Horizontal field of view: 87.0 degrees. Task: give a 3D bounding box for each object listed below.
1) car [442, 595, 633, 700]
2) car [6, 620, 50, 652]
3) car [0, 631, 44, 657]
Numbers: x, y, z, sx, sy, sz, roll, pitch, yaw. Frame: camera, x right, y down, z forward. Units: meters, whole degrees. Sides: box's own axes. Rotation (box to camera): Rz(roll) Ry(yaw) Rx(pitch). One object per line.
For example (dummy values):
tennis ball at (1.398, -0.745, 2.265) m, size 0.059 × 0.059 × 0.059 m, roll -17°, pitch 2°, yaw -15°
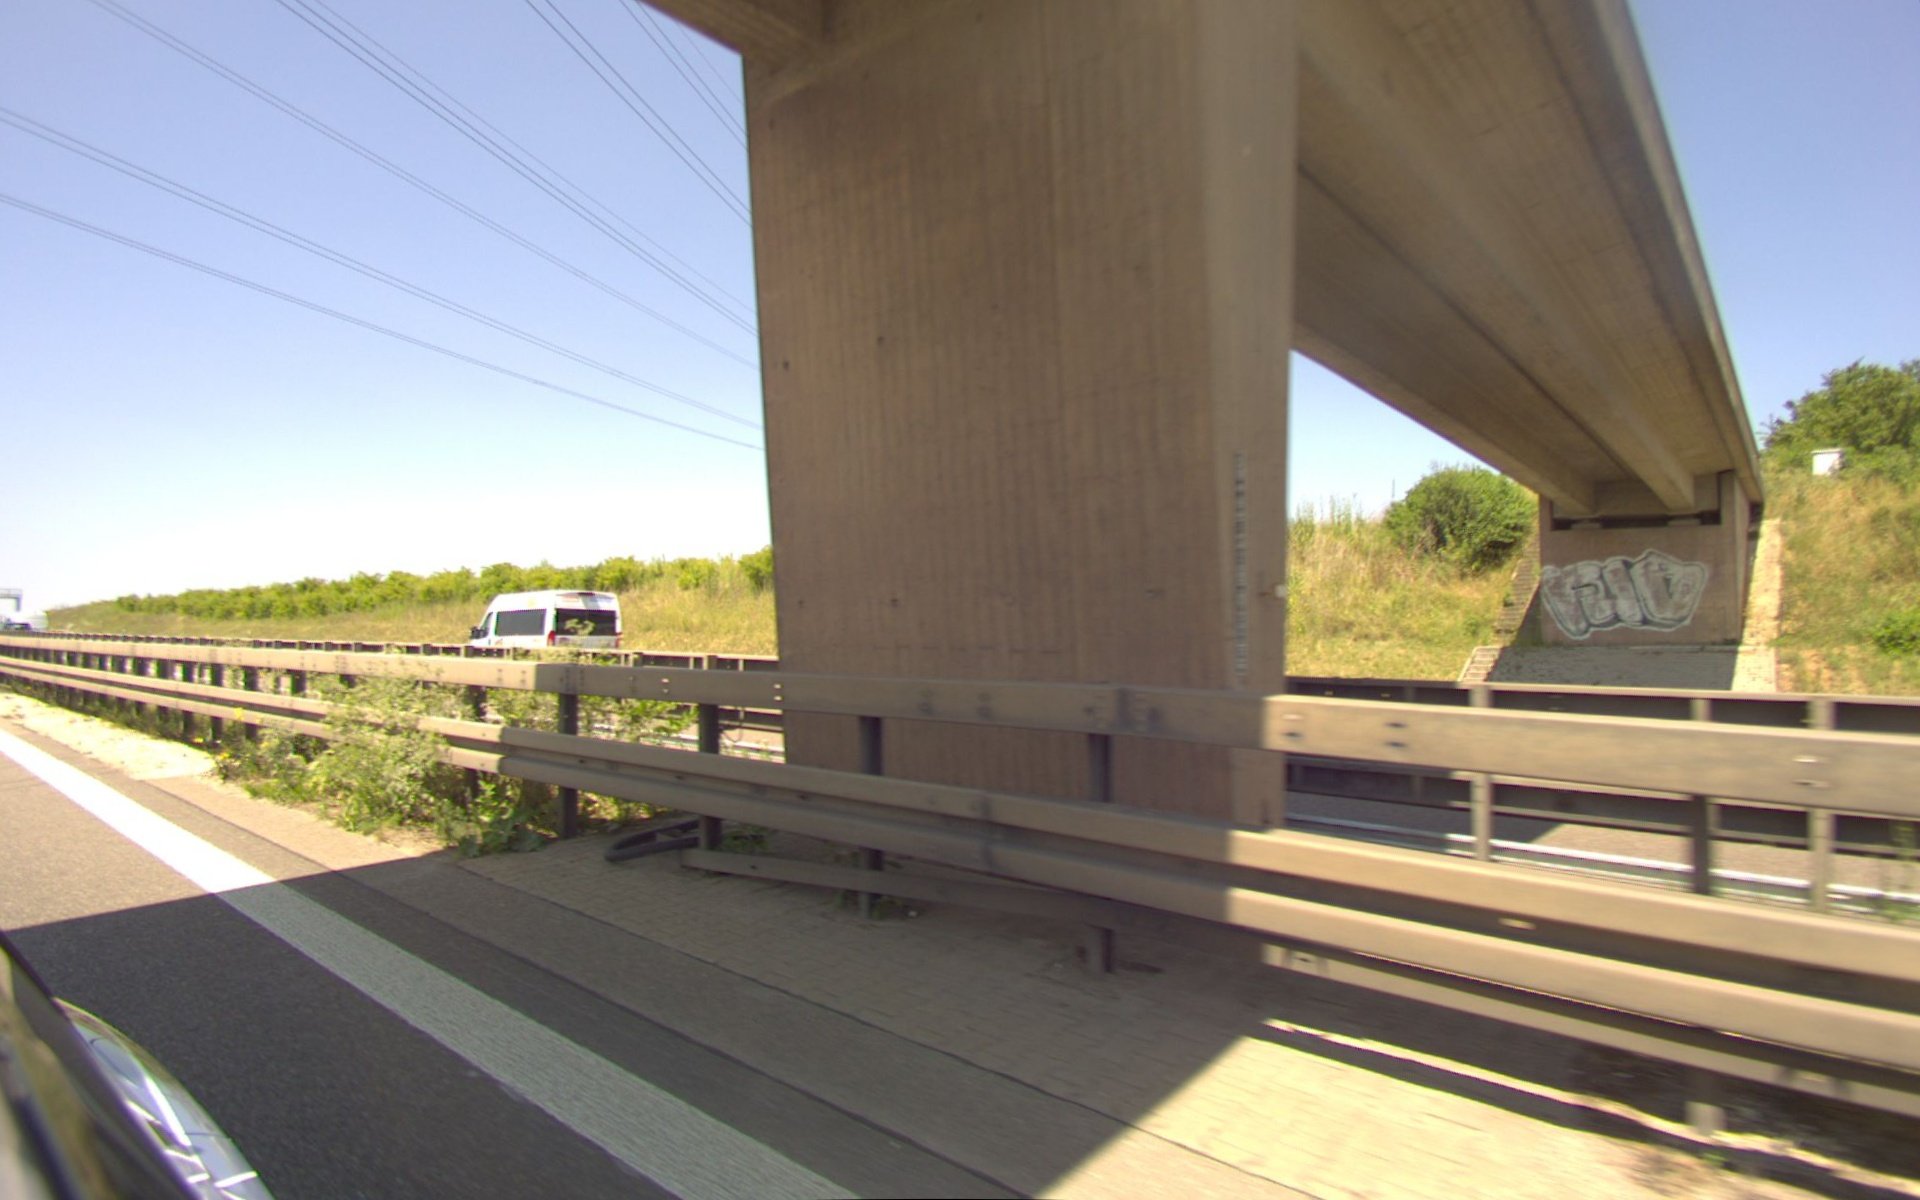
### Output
car at (-11.502, 1.198, 27.262) m, size 6.327 × 2.528 × 2.177 m, roll -2°, pitch -1°, yaw 41°
car at (-81.140, 3.119, 88.040) m, size 7.596 × 2.625 × 2.011 m, roll -2°, pitch -1°, yaw 41°
car at (-62.758, 2.924, 67.609) m, size 3.998 × 1.612 × 1.819 m, roll -2°, pitch -2°, yaw 41°
